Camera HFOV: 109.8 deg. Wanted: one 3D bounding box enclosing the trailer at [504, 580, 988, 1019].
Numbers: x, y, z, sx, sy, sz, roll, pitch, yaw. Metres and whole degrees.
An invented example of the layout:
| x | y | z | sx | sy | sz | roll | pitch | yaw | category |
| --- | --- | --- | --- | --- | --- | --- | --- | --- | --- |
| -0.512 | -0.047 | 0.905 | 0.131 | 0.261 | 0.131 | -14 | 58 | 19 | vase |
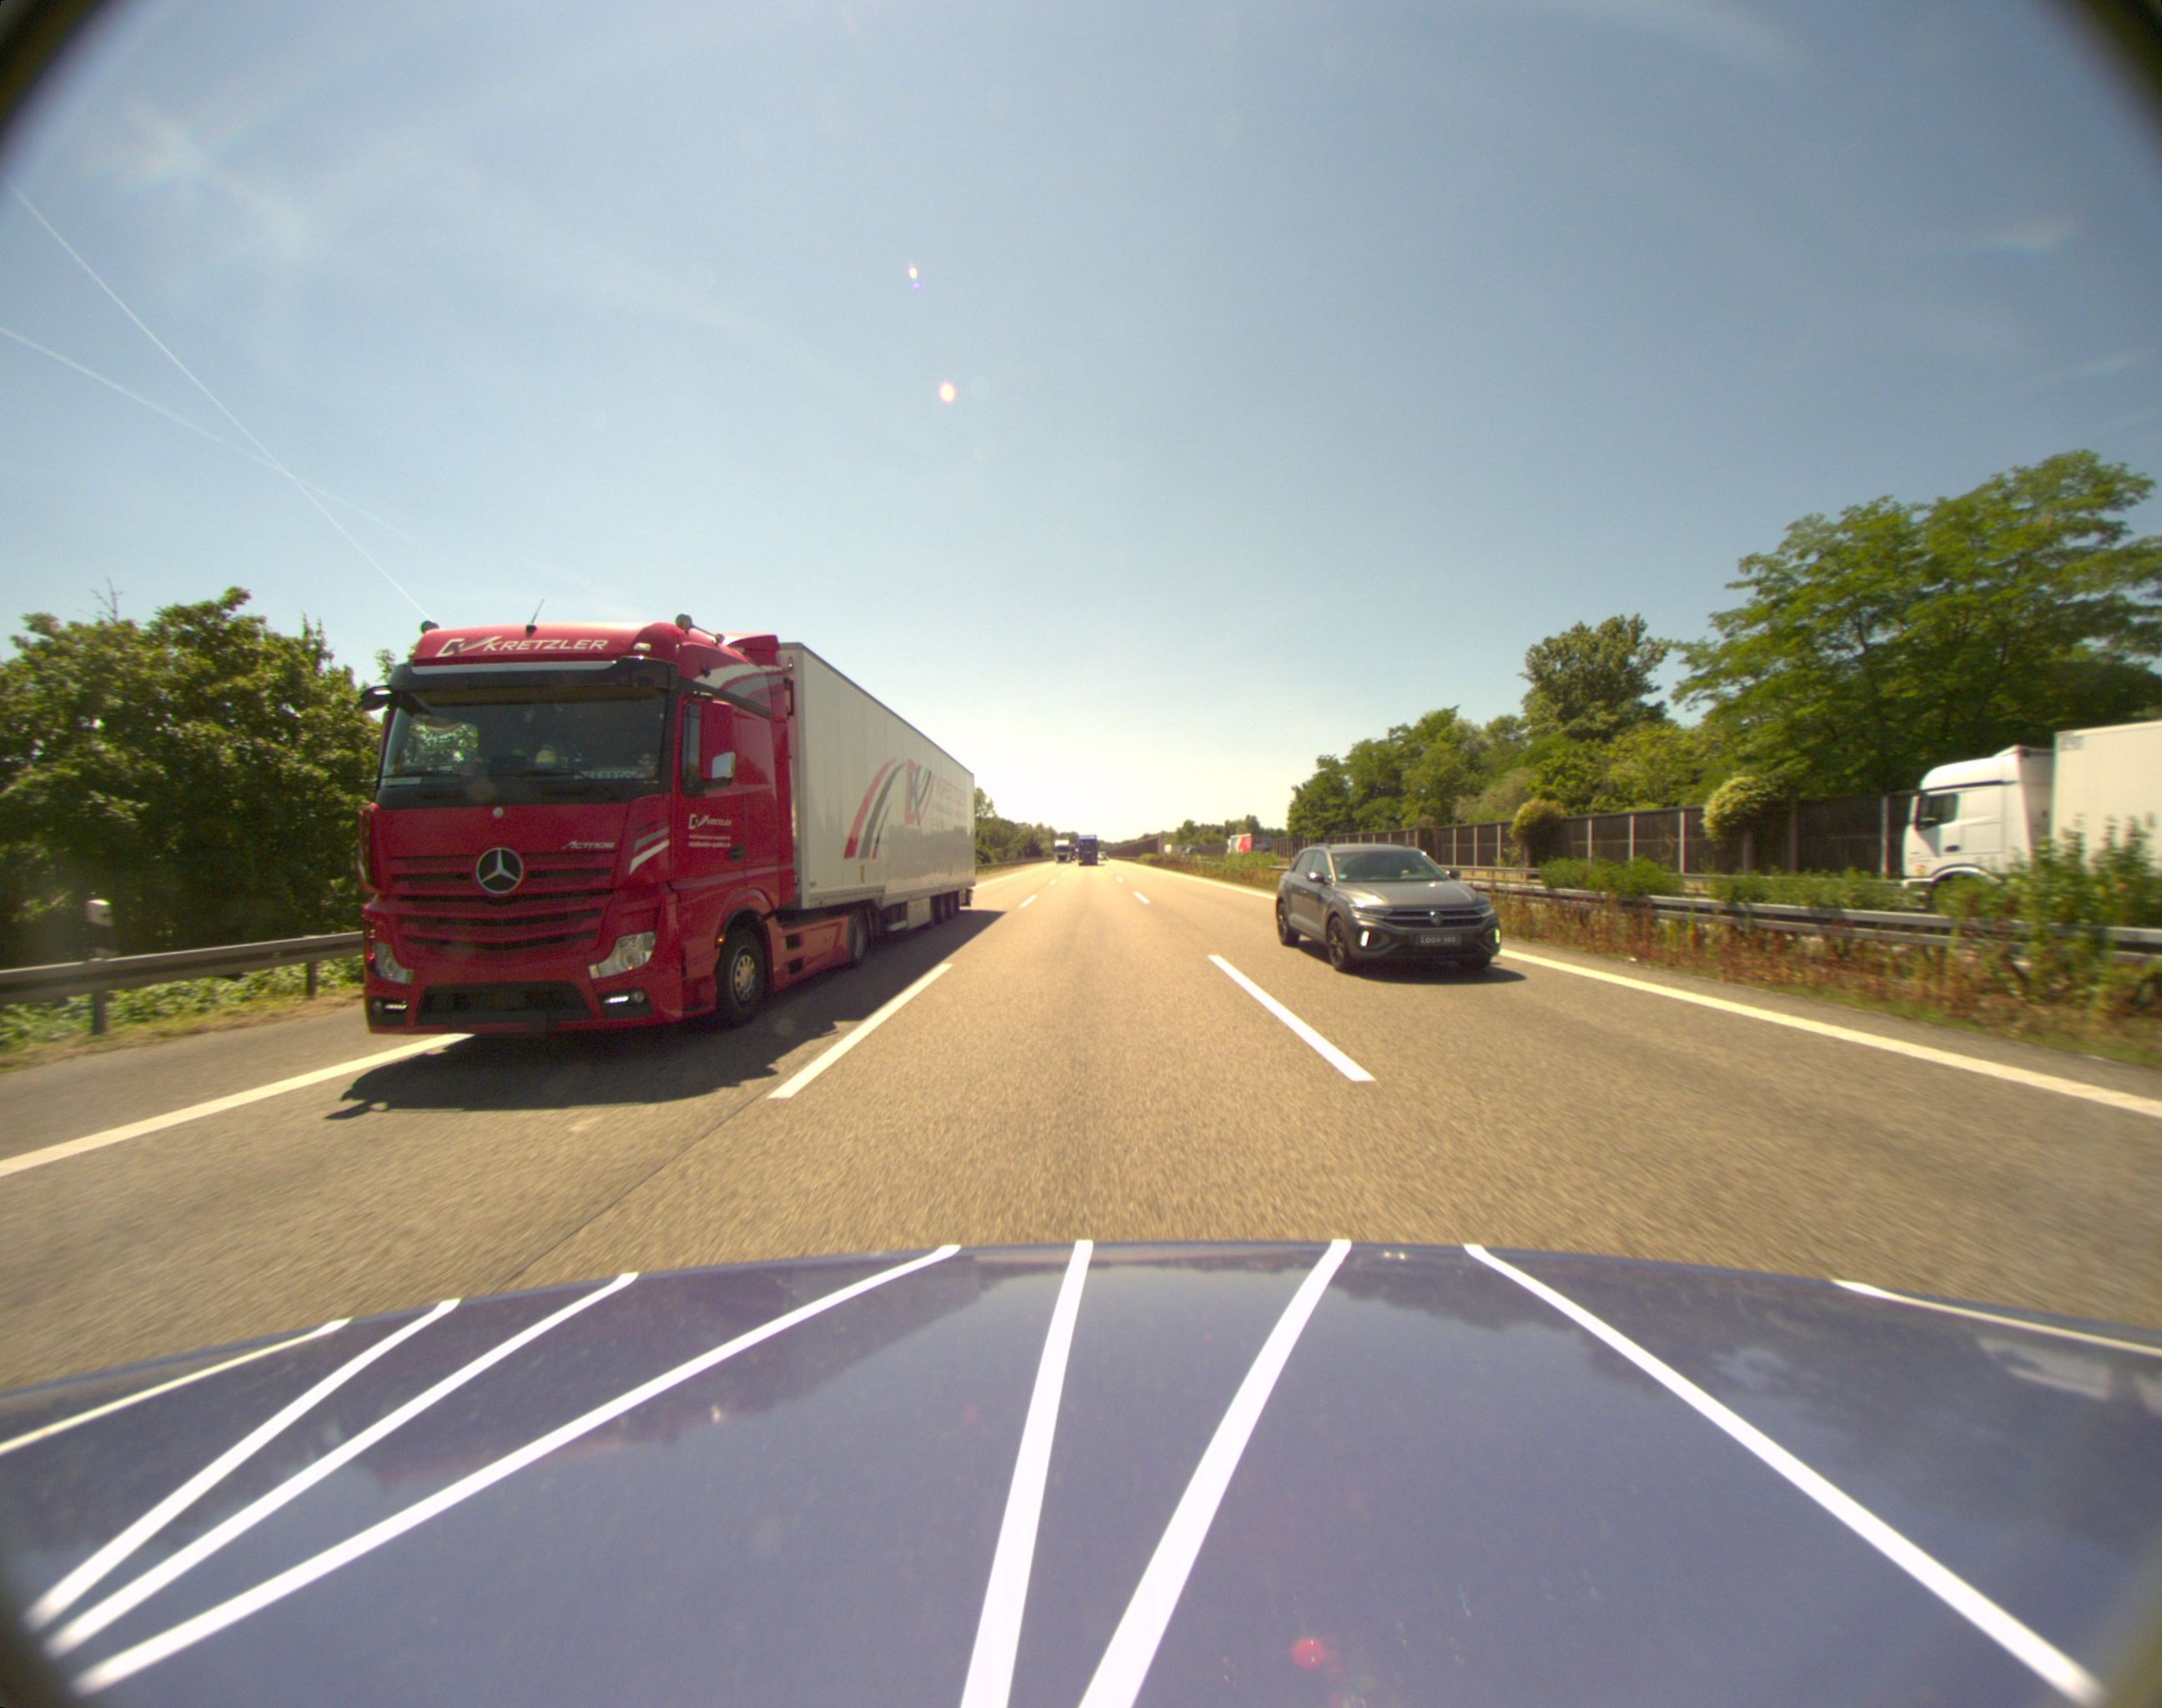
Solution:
| x | y | z | sx | sy | sz | roll | pitch | yaw | category |
| --- | --- | --- | --- | --- | --- | --- | --- | --- | --- |
| -4.607 | -0.575 | 15.518 | 3.277 | 4.809 | 14.030 | -2 | 0 | 1 | trailer |

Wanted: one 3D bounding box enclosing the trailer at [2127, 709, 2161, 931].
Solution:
| x | y | z | sx | sy | sz | roll | pitch | yaw | category |
| --- | --- | --- | --- | --- | --- | --- | --- | --- | --- |
| 21.602 | -0.592 | 8.003 | 3.619 | 4.080 | 12.795 | 0 | 0 | 1 | trailer |

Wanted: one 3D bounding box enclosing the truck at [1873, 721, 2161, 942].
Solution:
| x | y | z | sx | sy | sz | roll | pitch | yaw | category |
| --- | --- | --- | --- | --- | --- | --- | --- | --- | --- |
| 21.775 | -0.430 | 15.259 | 3.590 | 4.080 | 7.838 | 0 | 1 | 1 | truck |

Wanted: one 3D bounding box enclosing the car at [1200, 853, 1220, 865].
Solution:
| x | y | z | sx | sy | sz | roll | pitch | yaw | category |
| --- | --- | --- | --- | --- | --- | --- | --- | --- | --- |
| 16.017 | 0.553 | 94.450 | 1.782 | 1.404 | 4.499 | -1 | 0 | 1 | car |

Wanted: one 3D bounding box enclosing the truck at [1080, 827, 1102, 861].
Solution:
| x | y | z | sx | sy | sz | roll | pitch | yaw | category |
| --- | --- | --- | --- | --- | --- | --- | --- | --- | --- |
| 1.234 | -1.243 | 99.272 | 2.707 | 4.093 | 6.990 | -2 | 0 | 0 | truck |

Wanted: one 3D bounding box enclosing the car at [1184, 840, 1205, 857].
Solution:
| x | y | z | sx | sy | sz | roll | pitch | yaw | category |
| --- | --- | --- | --- | --- | --- | --- | --- | --- | --- |
| 18.851 | -0.862 | 126.736 | 2.321 | 2.548 | 7.584 | -5 | 0 | 1 | car |

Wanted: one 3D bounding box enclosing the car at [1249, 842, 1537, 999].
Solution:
| x | y | z | sx | sy | sz | roll | pitch | yaw | category |
| --- | --- | --- | --- | --- | --- | --- | --- | --- | --- |
| 3.882 | 0.727 | 10.589 | 1.885 | 1.630 | 5.008 | -1 | 0 | -1 | car |

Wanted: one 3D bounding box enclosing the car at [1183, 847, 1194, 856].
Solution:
| x | y | z | sx | sy | sz | roll | pitch | yaw | category |
| --- | --- | --- | --- | --- | --- | --- | --- | --- | --- |
| 23.146 | -0.547 | 163.831 | 1.894 | 2.075 | 4.766 | -1 | 0 | 1 | car |

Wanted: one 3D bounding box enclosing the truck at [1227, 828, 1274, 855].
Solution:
| x | y | z | sx | sy | sz | roll | pitch | yaw | category |
| --- | --- | --- | --- | --- | --- | --- | --- | --- | --- |
| 22.743 | -1.557 | 102.907 | 2.845 | 3.322 | 17.005 | -2 | 0 | 1 | truck |

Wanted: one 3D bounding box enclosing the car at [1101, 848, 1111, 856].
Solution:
| x | y | z | sx | sy | sz | roll | pitch | yaw | category |
| --- | --- | --- | --- | --- | --- | --- | --- | --- | --- |
| 5.395 | -0.460 | 165.666 | 2.045 | 1.559 | 4.000 | -2 | 0 | 1 | car |

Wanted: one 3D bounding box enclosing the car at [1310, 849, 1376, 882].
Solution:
| x | y | z | sx | sy | sz | roll | pitch | yaw | category |
| --- | --- | --- | --- | --- | --- | --- | --- | --- | --- |
| 13.400 | 0.518 | 39.115 | 1.826 | 1.587 | 4.748 | 0 | 0 | 1 | car |

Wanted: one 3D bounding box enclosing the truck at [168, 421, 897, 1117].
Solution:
| x | y | z | sx | sy | sz | roll | pitch | yaw | category |
| --- | --- | --- | --- | --- | --- | --- | --- | --- | --- |
| -4.762 | -0.576 | 8.910 | 3.242 | 4.860 | 6.972 | -2 | 0 | 1 | truck |

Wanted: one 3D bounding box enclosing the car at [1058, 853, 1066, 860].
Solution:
| x | y | z | sx | sy | sz | roll | pitch | yaw | category |
| --- | --- | --- | --- | --- | --- | --- | --- | --- | --- |
| -5.409 | 0.673 | 215.545 | 1.935 | 1.805 | 3.999 | -5 | 0 | -1 | car |

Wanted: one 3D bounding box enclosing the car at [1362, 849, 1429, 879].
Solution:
| x | y | z | sx | sy | sz | roll | pitch | yaw | category |
| --- | --- | --- | --- | --- | --- | --- | --- | --- | --- |
| 17.785 | 0.543 | 43.150 | 1.998 | 1.587 | 4.506 | 0 | 0 | 1 | car |

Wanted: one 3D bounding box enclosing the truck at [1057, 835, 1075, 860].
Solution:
| x | y | z | sx | sy | sz | roll | pitch | yaw | category |
| --- | --- | --- | --- | --- | --- | --- | --- | --- | --- |
| -2.606 | -1.072 | 134.352 | 2.820 | 4.139 | 10.448 | -2 | 0 | 0 | truck |

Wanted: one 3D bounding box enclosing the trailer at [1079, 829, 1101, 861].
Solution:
| x | y | z | sx | sy | sz | roll | pitch | yaw | category |
| --- | --- | --- | --- | --- | --- | --- | --- | --- | --- |
| 1.266 | -1.182 | 106.589 | 2.707 | 4.093 | 12.132 | -2 | 0 | 1 | trailer |
